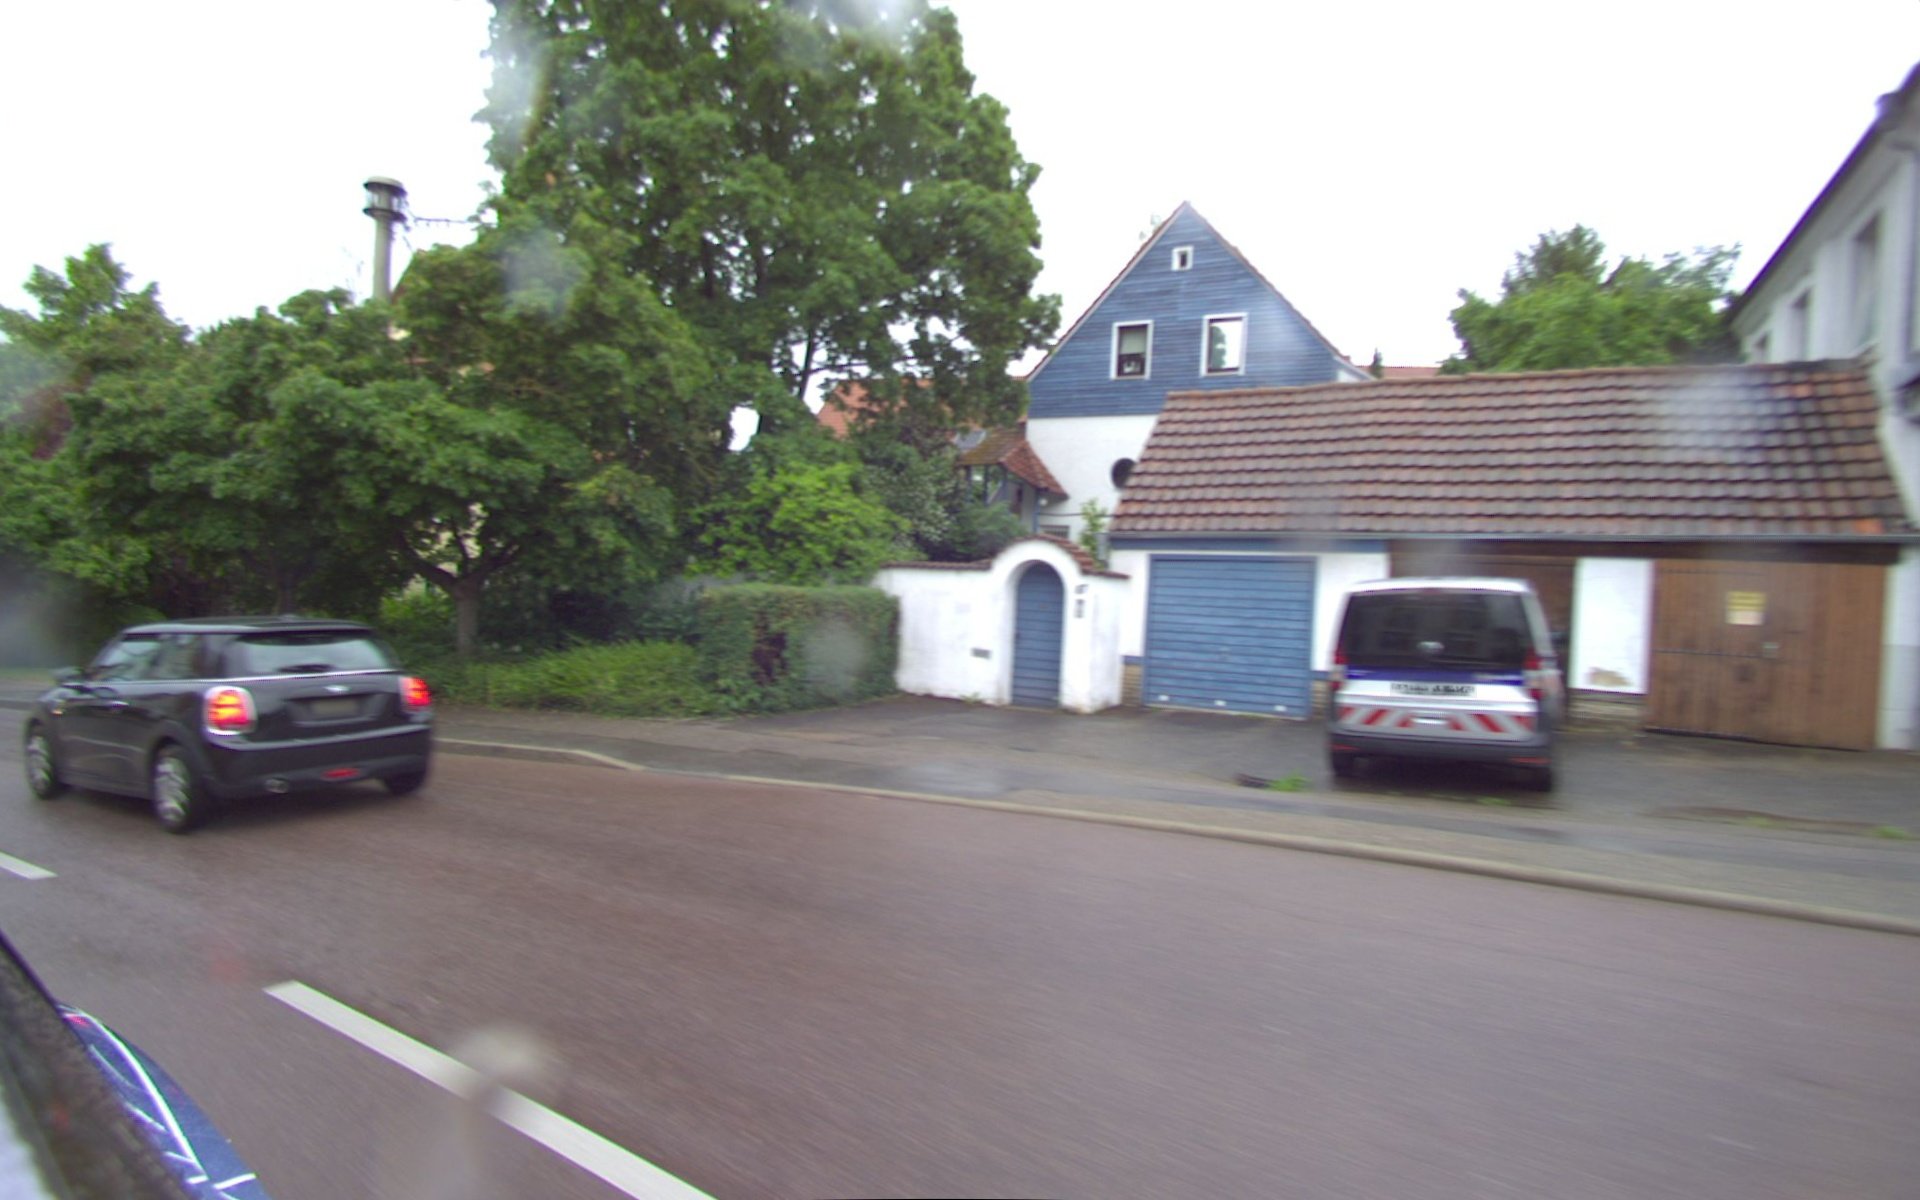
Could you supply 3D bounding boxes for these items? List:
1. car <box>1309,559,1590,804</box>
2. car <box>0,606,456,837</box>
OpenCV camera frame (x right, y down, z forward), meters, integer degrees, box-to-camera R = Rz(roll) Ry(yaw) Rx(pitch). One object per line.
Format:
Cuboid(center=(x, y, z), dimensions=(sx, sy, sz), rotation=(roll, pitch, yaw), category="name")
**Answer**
Cuboid(center=(4.832, 0.619, 9.779), dimensions=(1.992, 1.813, 4.077), rotation=(-1, -1, 30), category="car")
Cuboid(center=(-5.818, 0.775, 7.910), dimensions=(3.664, 1.416, 1.665), rotation=(-1, -1, 31), category="car")
